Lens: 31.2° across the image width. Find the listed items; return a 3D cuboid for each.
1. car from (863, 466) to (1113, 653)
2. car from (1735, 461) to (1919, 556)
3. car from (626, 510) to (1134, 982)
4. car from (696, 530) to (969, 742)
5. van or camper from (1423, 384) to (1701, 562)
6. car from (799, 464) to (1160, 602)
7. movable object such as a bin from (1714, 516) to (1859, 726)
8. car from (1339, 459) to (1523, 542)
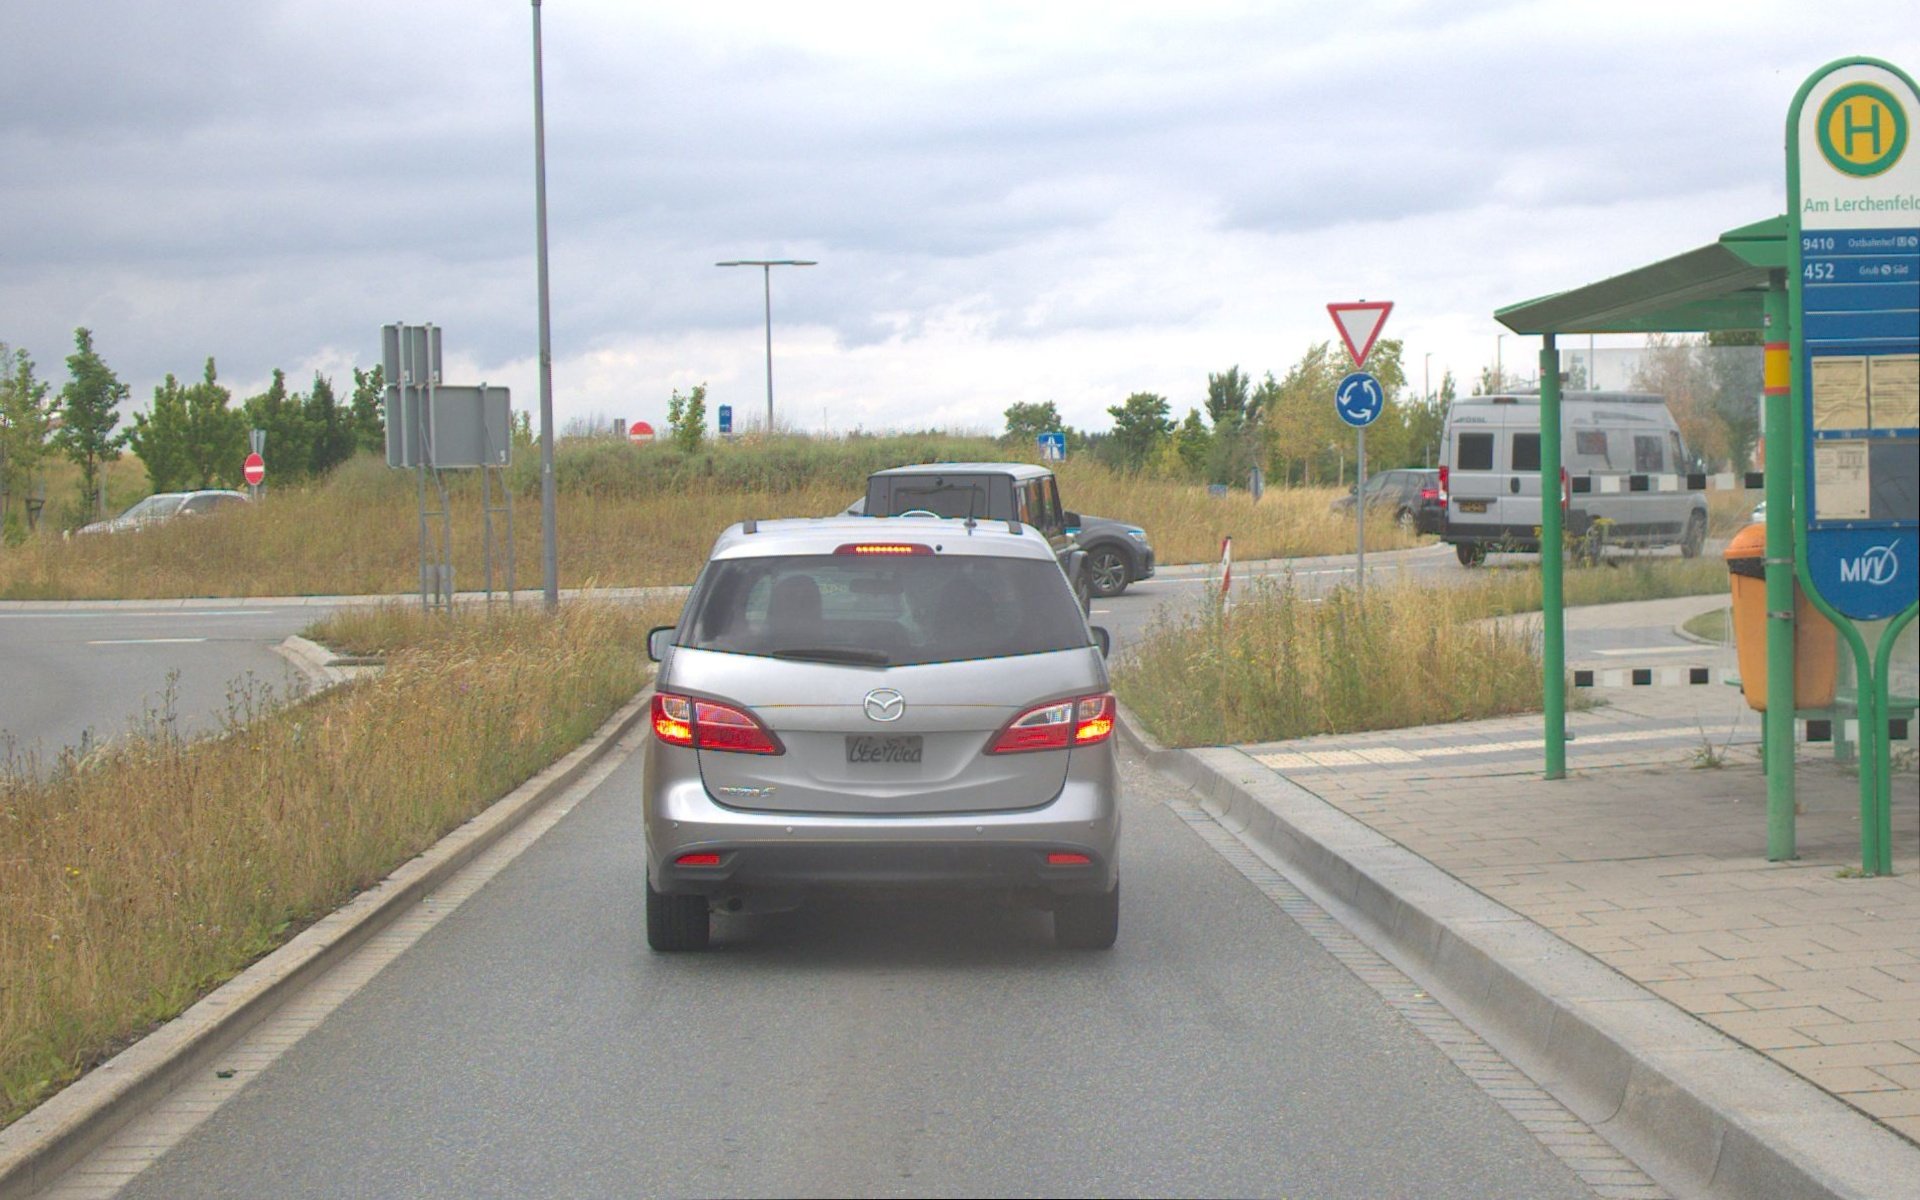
[{"bbox_3d":[0.378,-0.453,36.190,2.059,1.819,4.785,0,1,7],"label":"car"},{"bbox_3d":[17.209,-1.749,65.650,4.604,1.751,1.999,0,1,10],"label":"car"},{"bbox_3d":[-0.343,0.451,13.633,1.729,1.594,3.807,0,2,-2],"label":"car"},{"bbox_3d":[-0.887,0.211,26.190,1.845,1.413,4.225,-1,2,1],"label":"car"},{"bbox_3d":[9.019,-1.865,51.132,2.307,2.497,5.197,1,2,32],"label":"van or camper"},{"bbox_3d":[0.232,-0.883,44.381,4.189,1.587,2.066,-3,2,-17],"label":"car"},{"bbox_3d":[3.190,0.076,13.276,0.456,0.795,0.380,-1,1,-1],"label":"movable object such as a bin"},{"bbox_3d":[8.968,-1.881,65.740,1.993,1.510,4.001,-1,1,-16],"label":"car"}]
